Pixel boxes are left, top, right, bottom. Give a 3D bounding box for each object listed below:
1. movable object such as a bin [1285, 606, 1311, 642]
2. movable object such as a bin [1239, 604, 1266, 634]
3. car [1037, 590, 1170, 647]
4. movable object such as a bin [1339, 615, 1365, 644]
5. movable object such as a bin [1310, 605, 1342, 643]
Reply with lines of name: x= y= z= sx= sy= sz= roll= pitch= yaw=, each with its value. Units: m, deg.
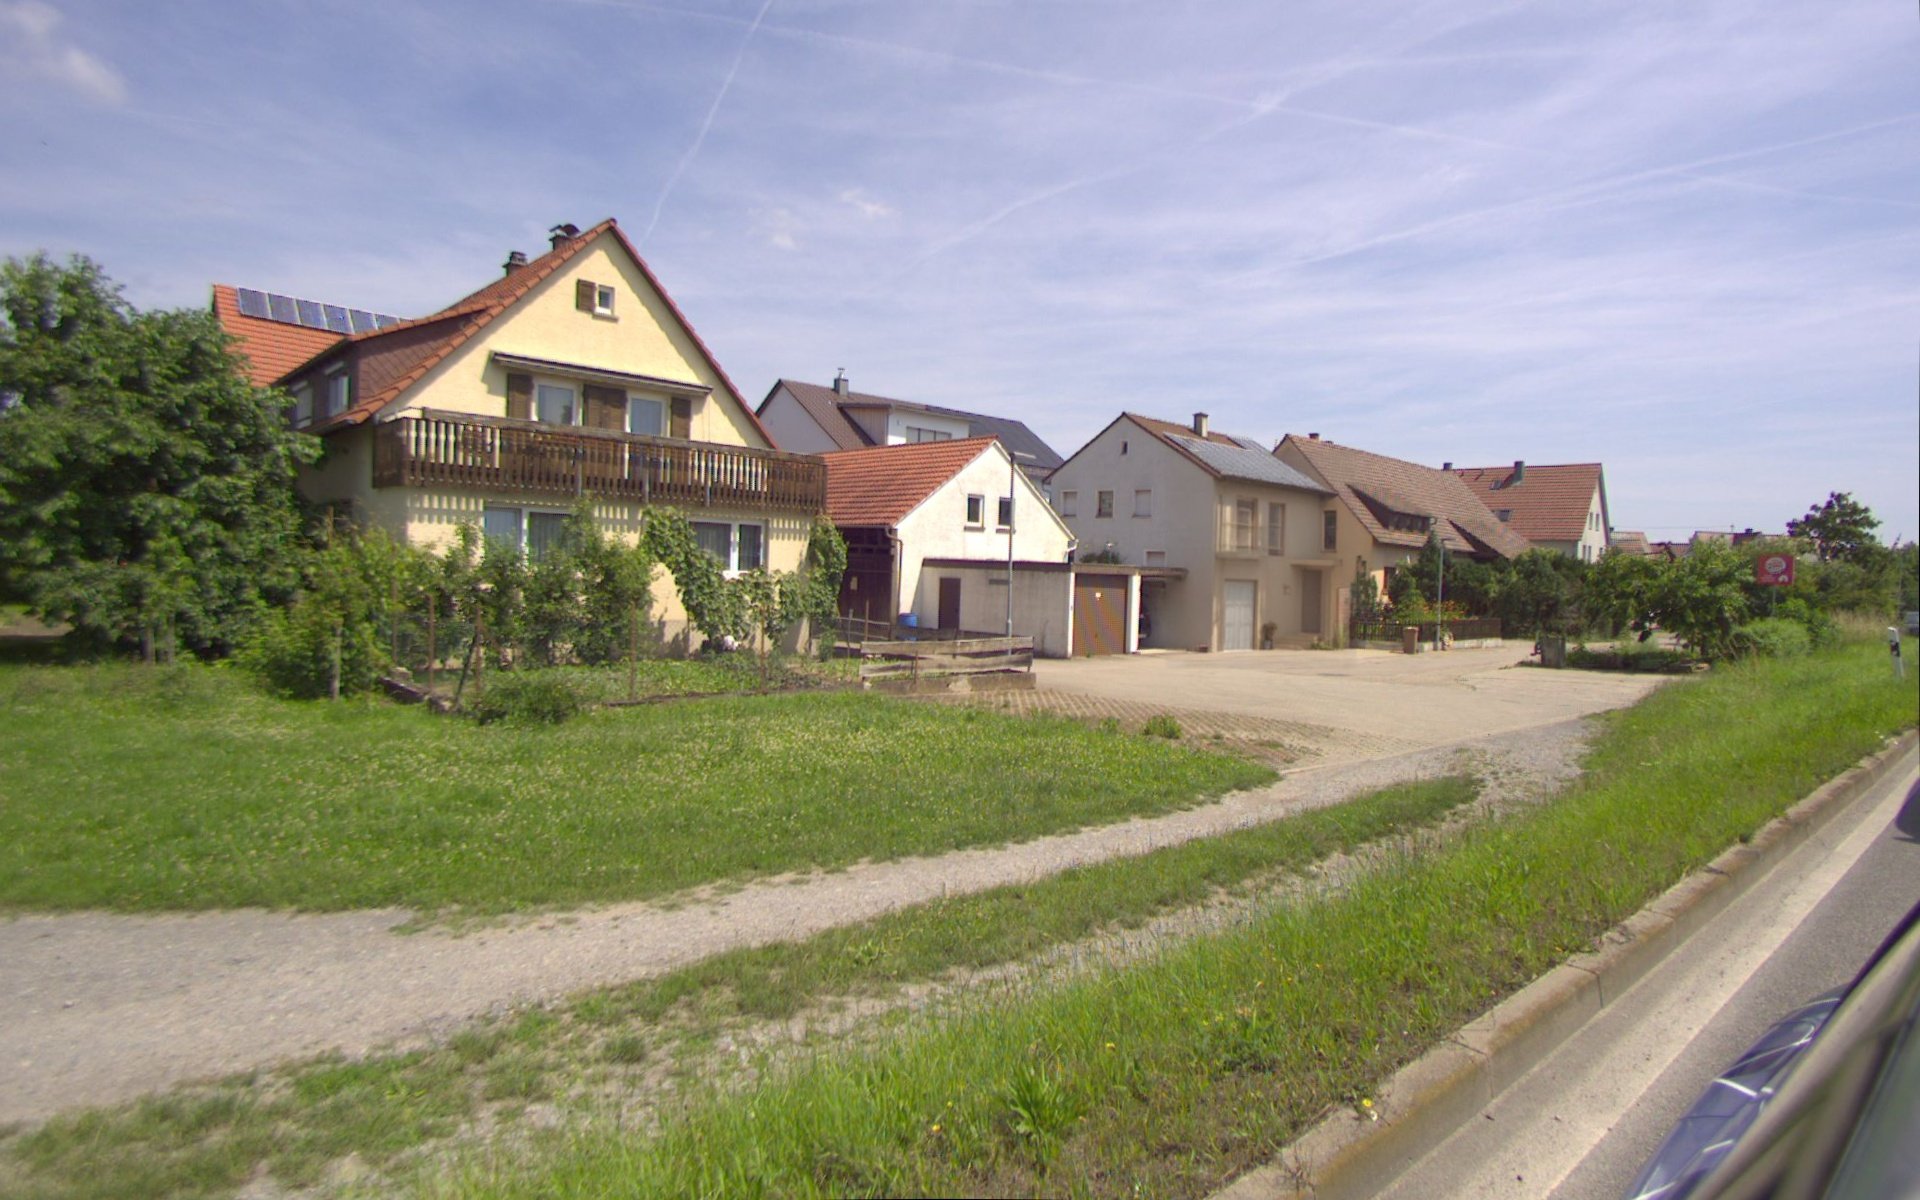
movable object such as a bin: x=13.152 y=0.932 z=39.380 sx=0.806 sy=1.355 sz=0.677 roll=1 pitch=0 yaw=-42
movable object such as a bin: x=11.719 y=0.765 z=40.574 sx=0.816 sy=1.171 sz=0.739 roll=1 pitch=0 yaw=-42
car: x=4.492 y=0.548 z=32.077 sx=1.794 sy=1.624 sz=3.995 roll=1 pitch=1 yaw=-40
movable object such as a bin: x=14.524 y=1.085 z=37.465 sx=0.743 sy=1.040 sz=0.645 roll=1 pitch=0 yaw=-42
movable object such as a bin: x=13.806 y=0.895 z=38.167 sx=0.930 sy=1.387 sz=0.764 roll=1 pitch=0 yaw=-42
